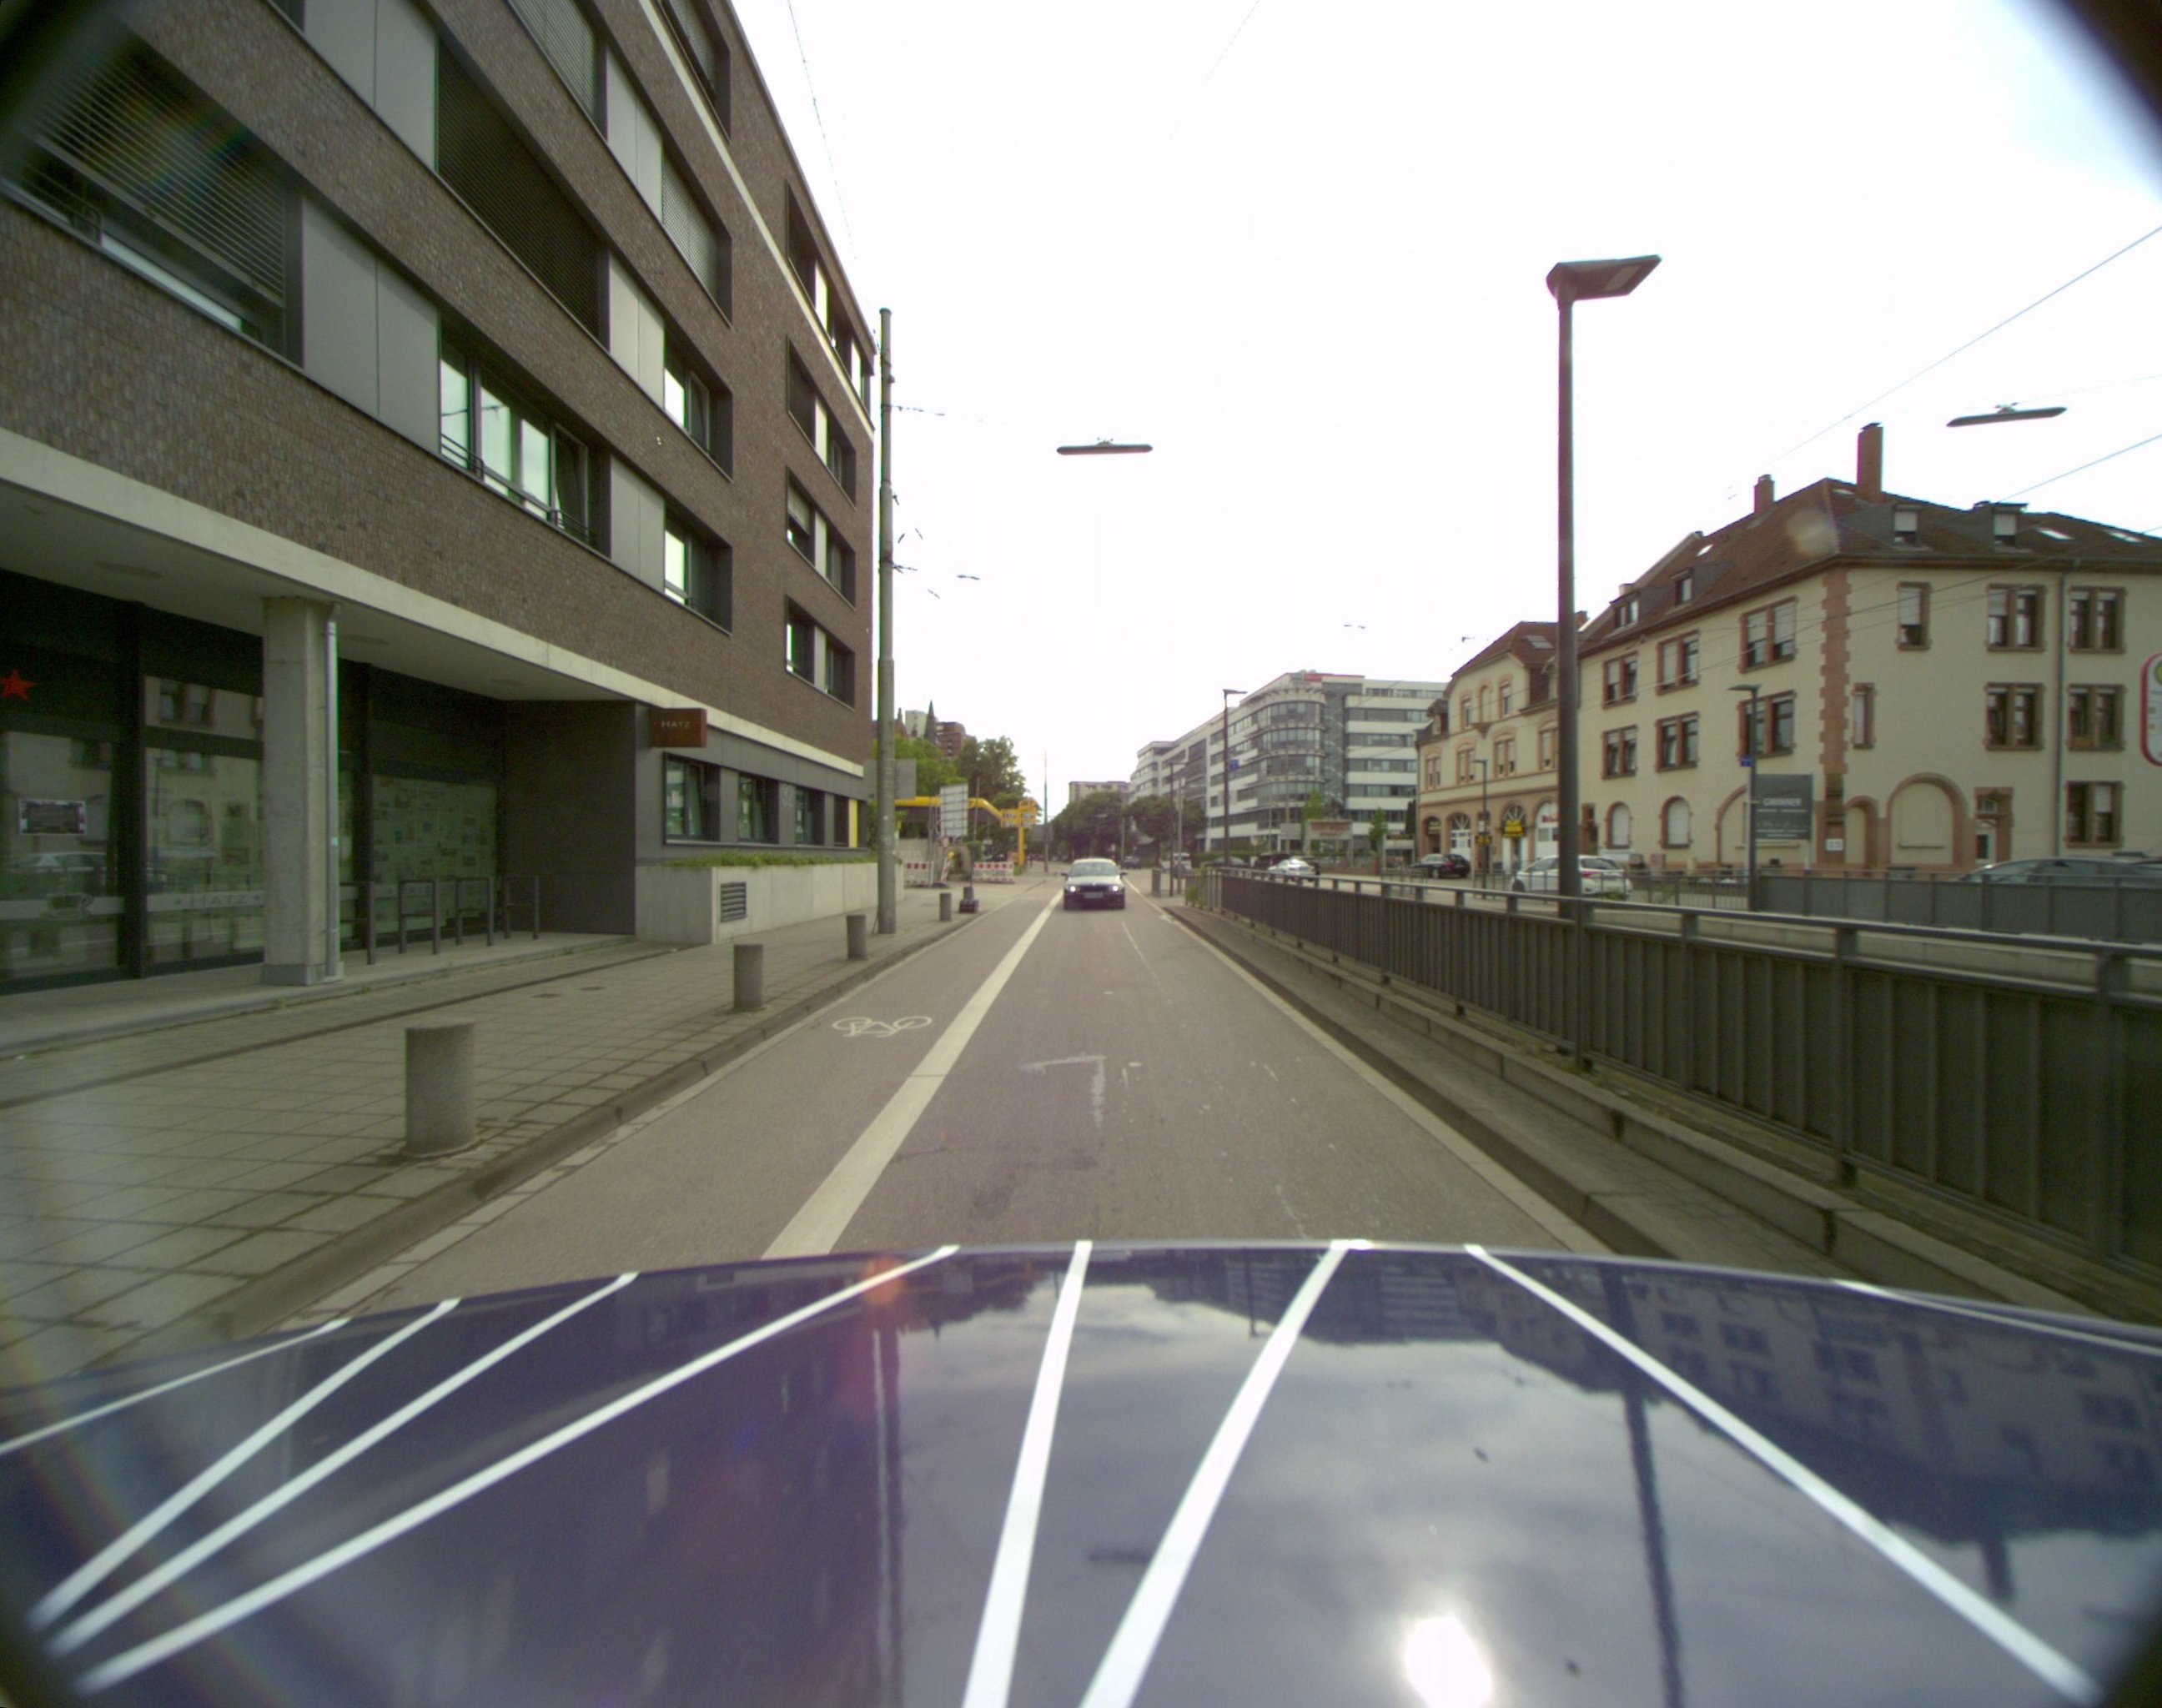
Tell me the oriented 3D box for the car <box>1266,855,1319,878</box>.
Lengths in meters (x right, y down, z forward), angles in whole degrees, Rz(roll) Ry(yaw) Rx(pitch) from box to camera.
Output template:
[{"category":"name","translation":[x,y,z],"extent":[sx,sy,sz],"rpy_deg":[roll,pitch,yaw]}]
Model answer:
[{"category":"car","translation":[13.009,0.743,46.955],"extent":[1.756,1.291,3.829],"rpy_deg":[0,1,-8]}]

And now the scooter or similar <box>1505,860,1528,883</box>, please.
[{"category":"scooter or similar","translation":[21.739,0.855,37.910],"extent":[1.180,1.095,0.526],"rpy_deg":[-2,1,-33]}]

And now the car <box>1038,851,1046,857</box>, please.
[{"category":"car","translation":[-11.362,-0.144,223.180],"extent":[1.848,1.714,4.403],"rpy_deg":[0,1,-10]}]

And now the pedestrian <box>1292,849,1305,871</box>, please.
[{"category":"pedestrian","translation":[18.720,0.519,65.397],"extent":[0.806,1.815,1.059],"rpy_deg":[-1,1,-2]}]

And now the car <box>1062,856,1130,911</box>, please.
[{"category":"car","translation":[0.459,0.788,22.363],"extent":[1.786,1.361,4.113],"rpy_deg":[-1,1,2]}]

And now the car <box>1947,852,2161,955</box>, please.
[{"category":"car","translation":[16.313,0.727,11.451],"extent":[1.768,1.443,3.997],"rpy_deg":[1,1,-5]}]

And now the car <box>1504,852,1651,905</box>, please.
[{"category":"car","translation":[15.853,0.733,24.549],"extent":[1.869,1.477,3.998],"rpy_deg":[2,0,-4]}]

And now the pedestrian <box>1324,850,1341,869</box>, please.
[{"category":"pedestrian","translation":[26.352,0.542,79.756],"extent":[1.217,2.002,1.186],"rpy_deg":[0,1,-19]}]

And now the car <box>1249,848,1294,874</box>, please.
[{"category":"car","translation":[15.799,0.511,63.400],"extent":[1.992,2.002,5.182],"rpy_deg":[-2,1,-5]}]

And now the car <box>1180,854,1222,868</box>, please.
[{"category":"car","translation":[12.731,0.700,80.548],"extent":[3.975,1.443,1.820],"rpy_deg":[1,1,36]}]

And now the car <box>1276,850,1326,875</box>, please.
[{"category":"car","translation":[16.650,0.634,57.741],"extent":[2.043,1.739,4.532],"rpy_deg":[-2,0,-6]}]

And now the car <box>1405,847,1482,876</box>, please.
[{"category":"car","translation":[22.094,0.414,46.574],"extent":[1.999,1.484,4.900],"rpy_deg":[-6,1,-4]}]

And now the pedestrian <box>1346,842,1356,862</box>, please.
[{"category":"pedestrian","translation":[24.838,-0.192,69.852],"extent":[0.636,1.764,0.761],"rpy_deg":[-1,1,0]}]

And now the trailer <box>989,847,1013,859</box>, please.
[{"category":"trailer","translation":[-11.290,-0.128,106.801],"extent":[3.292,1.523,1.772],"rpy_deg":[1,3,-6]}]

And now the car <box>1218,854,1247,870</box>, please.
[{"category":"car","translation":[14.805,0.765,74.155],"extent":[1.791,1.521,4.148],"rpy_deg":[2,1,24]}]

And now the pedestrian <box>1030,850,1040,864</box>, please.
[{"category":"pedestrian","translation":[-5.869,0.358,96.676],"extent":[0.871,1.738,0.848],"rpy_deg":[2,1,-32]}]

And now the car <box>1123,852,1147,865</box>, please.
[{"category":"car","translation":[6.200,0.485,87.997],"extent":[1.887,1.420,4.420],"rpy_deg":[1,1,-8]}]

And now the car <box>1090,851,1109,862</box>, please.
[{"category":"car","translation":[2.753,0.344,113.189],"extent":[1.911,1.464,4.815],"rpy_deg":[1,0,-10]}]

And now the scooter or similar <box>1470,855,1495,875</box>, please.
[{"category":"scooter or similar","translation":[22.972,0.639,43.462],"extent":[1.178,1.095,0.527],"rpy_deg":[-3,2,-8]}]

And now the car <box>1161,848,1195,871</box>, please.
[{"category":"car","translation":[8.723,0.429,68.655],"extent":[1.890,1.977,4.521],"rpy_deg":[0,1,-9]}]
